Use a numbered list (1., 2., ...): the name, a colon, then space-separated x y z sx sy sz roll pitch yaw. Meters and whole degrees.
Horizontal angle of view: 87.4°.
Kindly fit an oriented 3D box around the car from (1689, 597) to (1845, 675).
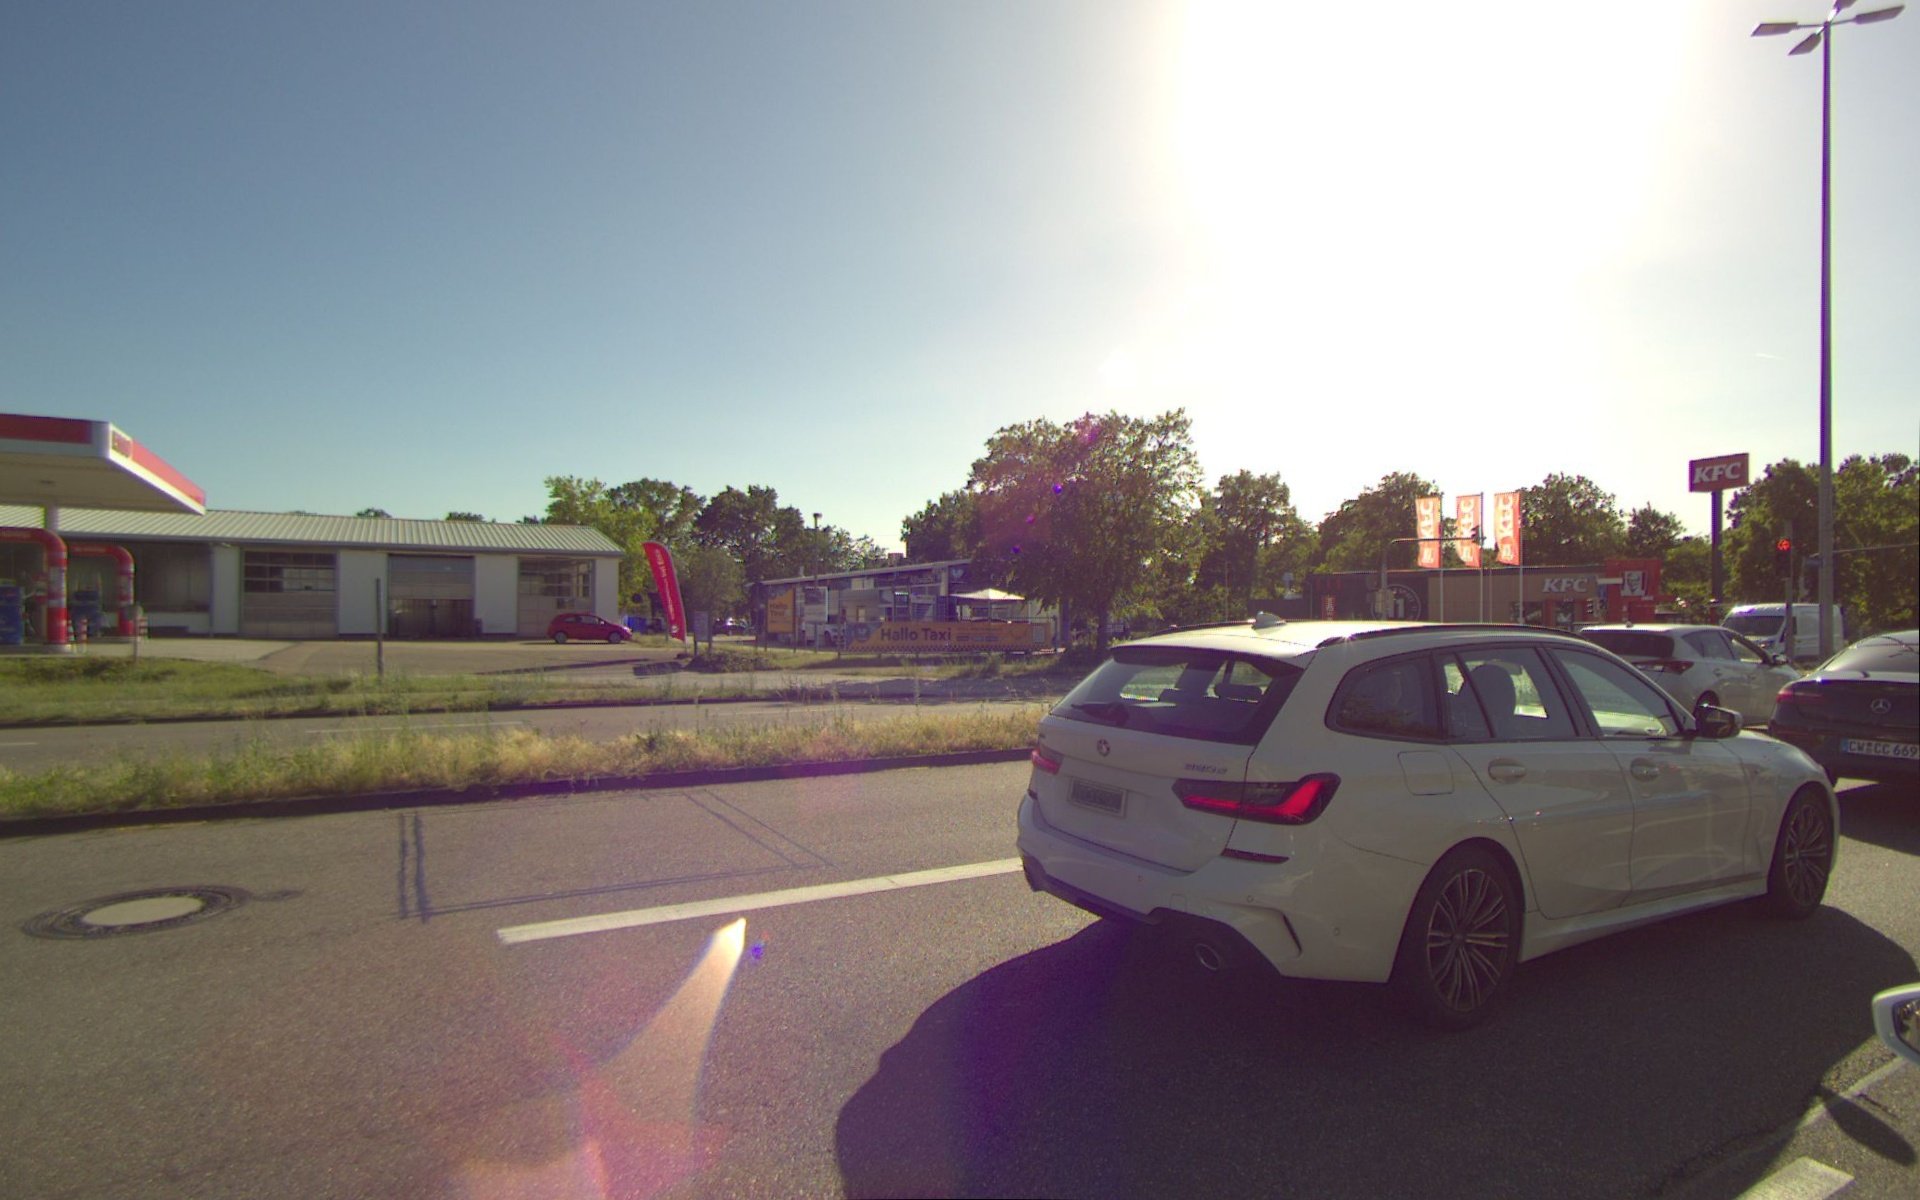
1. car: 27.468 1.265 34.130 5.750 2.478 2.015 1 -4 -29

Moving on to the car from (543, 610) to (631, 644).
1. car: -18.341 1.326 49.407 3.946 1.537 1.772 2 0 -25

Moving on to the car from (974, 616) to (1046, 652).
1. car: 2.403 1.659 49.557 1.839 1.613 3.974 2 0 -26

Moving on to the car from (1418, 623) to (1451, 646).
1. car: 33.943 2.447 71.944 1.629 1.491 3.919 2 0 18

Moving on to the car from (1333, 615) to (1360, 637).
1. car: 28.299 1.885 73.653 1.629 1.491 3.919 2 0 18

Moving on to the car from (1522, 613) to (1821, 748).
1. car: 9.521 0.998 13.372 4.150 1.510 1.750 2 0 -31

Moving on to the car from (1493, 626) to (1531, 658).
1. car: 33.097 2.467 60.199 1.880 1.776 4.349 2 0 29

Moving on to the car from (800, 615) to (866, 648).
1. car: -6.749 1.638 53.098 1.978 1.584 3.964 2 0 -32

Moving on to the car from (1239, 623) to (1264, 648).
1. car: 21.820 2.612 75.151 1.629 1.695 3.945 2 0 18

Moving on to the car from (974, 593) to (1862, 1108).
1. car: 2.386 0.797 4.874 4.353 1.510 1.776 2 0 -31

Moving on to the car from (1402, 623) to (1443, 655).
1. car: 28.351 2.336 61.517 1.964 1.788 4.349 2 0 29

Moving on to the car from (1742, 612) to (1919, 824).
1. car: 8.777 0.930 8.637 4.425 1.510 1.787 2 0 -31

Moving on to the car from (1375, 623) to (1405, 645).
1. car: 31.310 2.437 73.217 1.629 1.491 3.919 2 0 18

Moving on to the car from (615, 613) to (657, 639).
1. car: -19.274 1.535 59.672 1.634 1.383 3.744 2 0 -29

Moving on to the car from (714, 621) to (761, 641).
1. car: -19.373 2.706 87.602 3.929 1.634 1.996 2 0 -11
